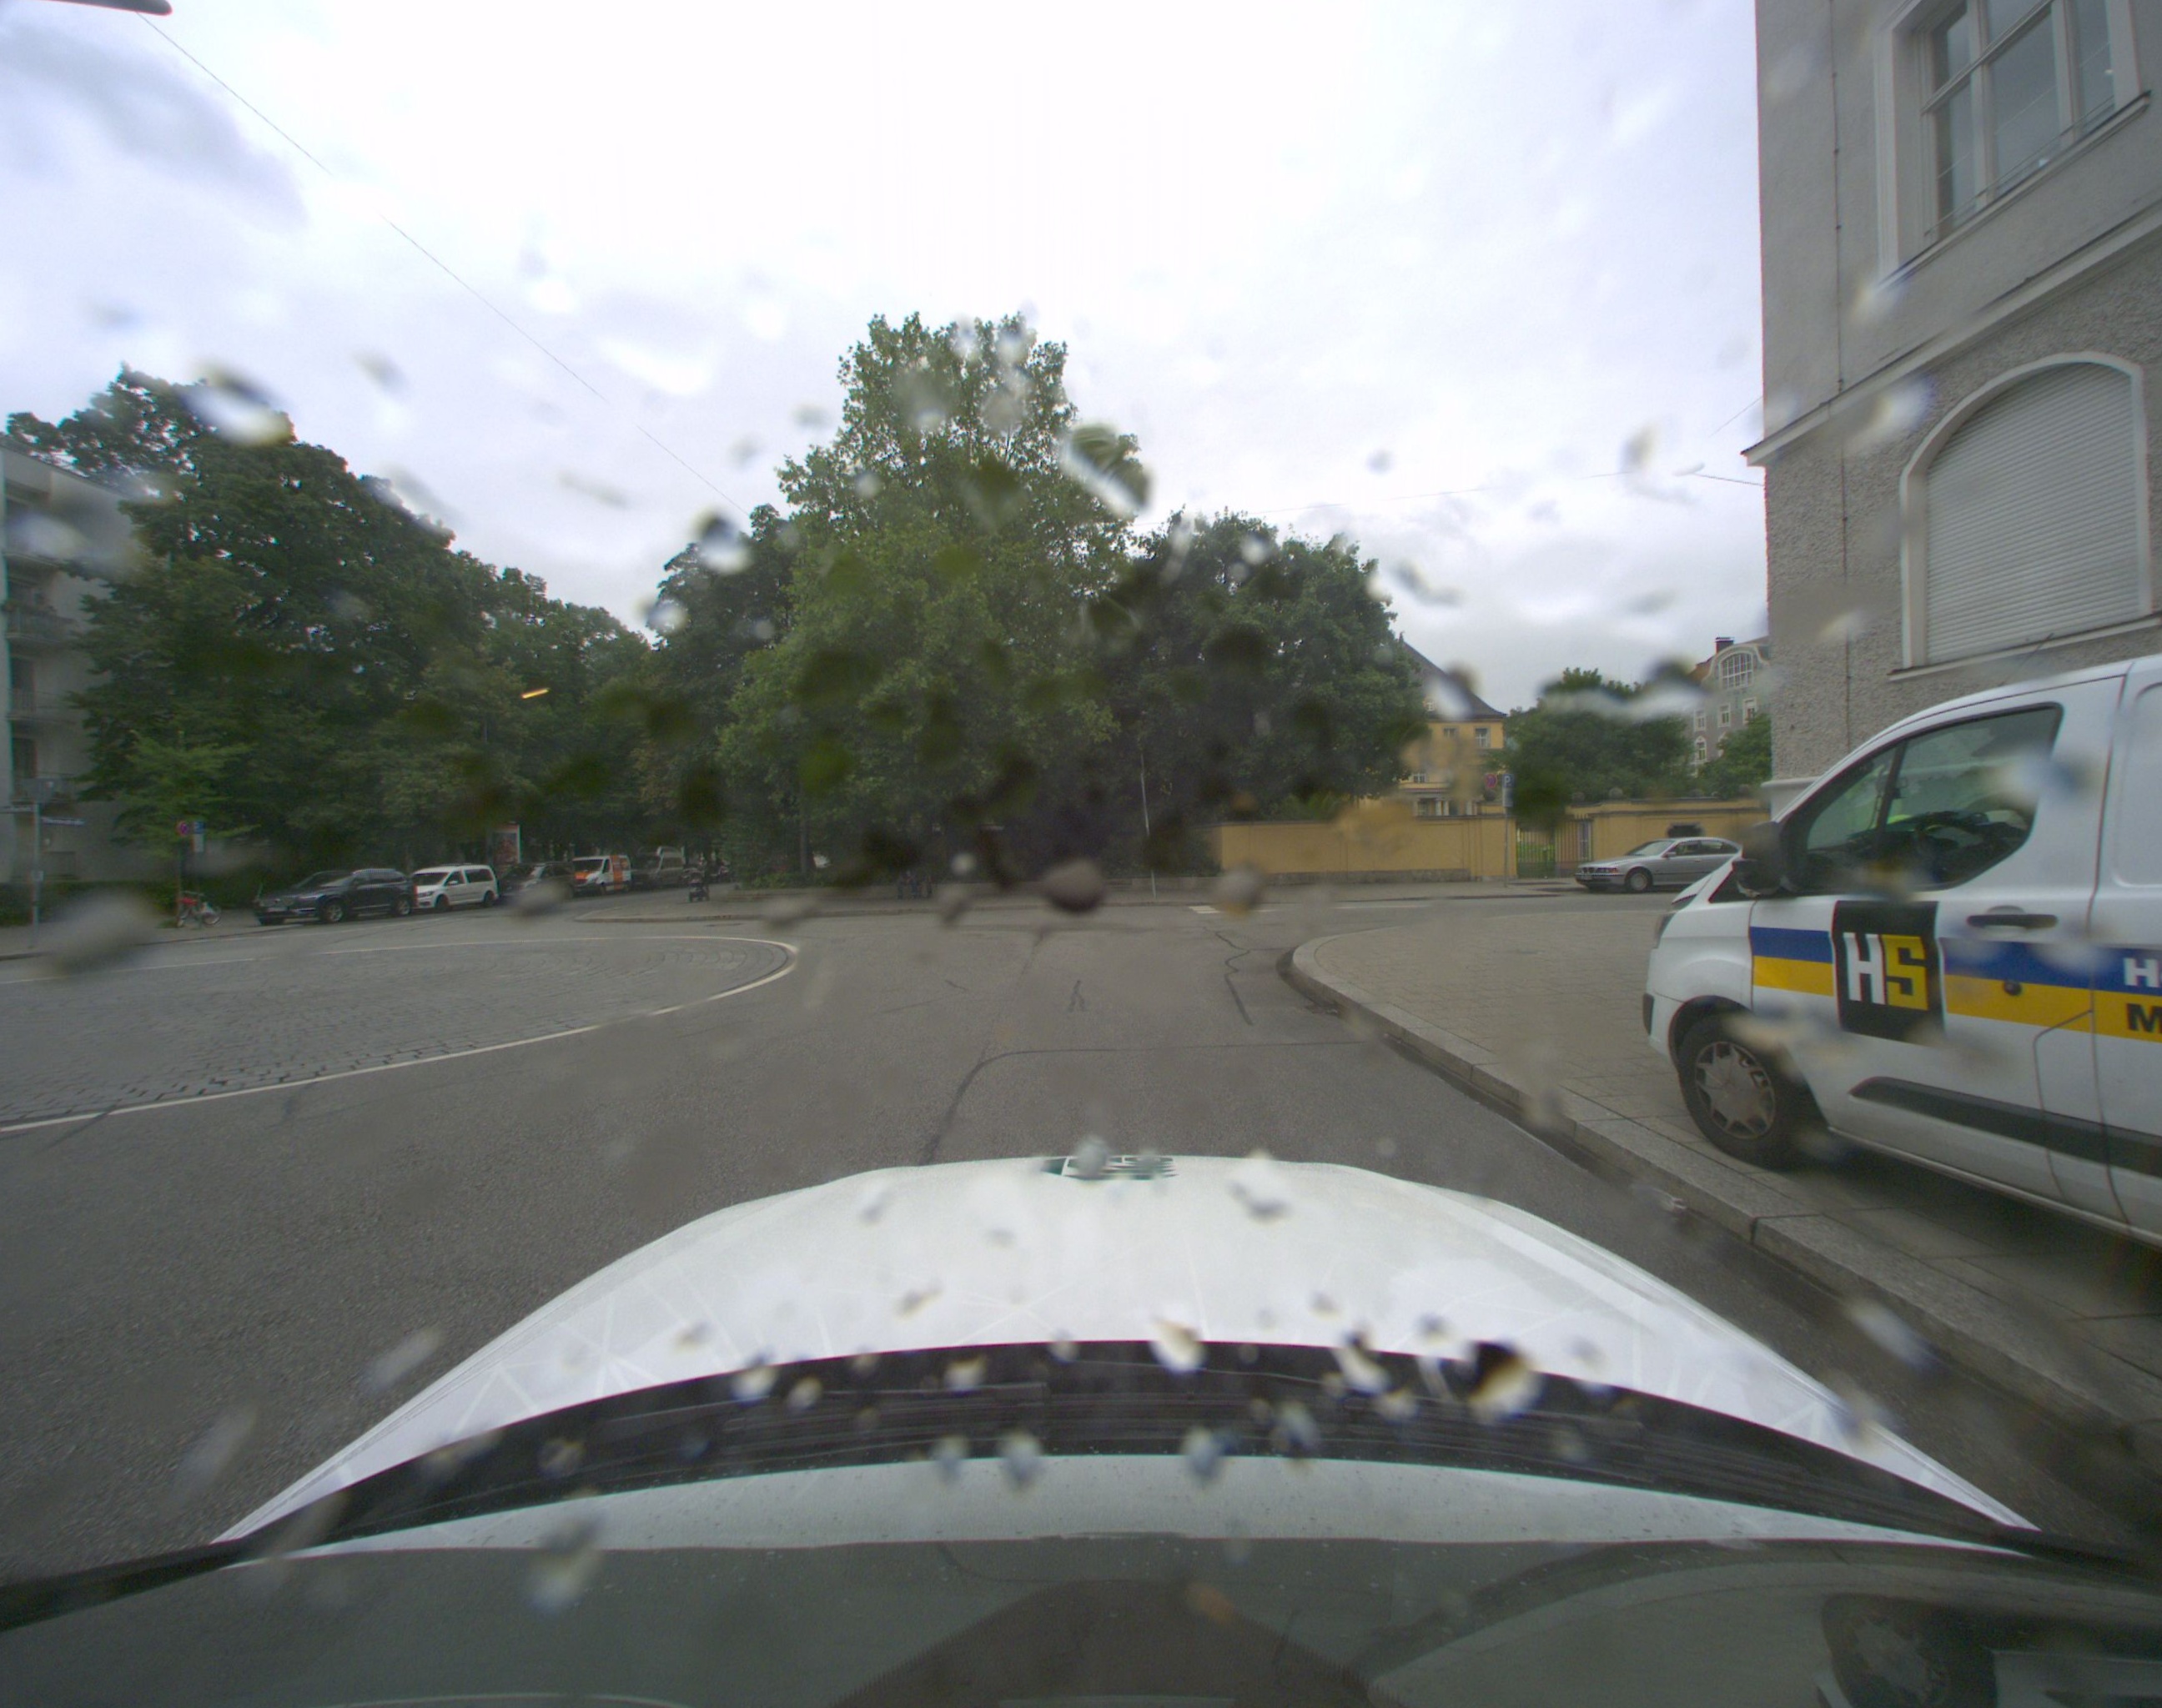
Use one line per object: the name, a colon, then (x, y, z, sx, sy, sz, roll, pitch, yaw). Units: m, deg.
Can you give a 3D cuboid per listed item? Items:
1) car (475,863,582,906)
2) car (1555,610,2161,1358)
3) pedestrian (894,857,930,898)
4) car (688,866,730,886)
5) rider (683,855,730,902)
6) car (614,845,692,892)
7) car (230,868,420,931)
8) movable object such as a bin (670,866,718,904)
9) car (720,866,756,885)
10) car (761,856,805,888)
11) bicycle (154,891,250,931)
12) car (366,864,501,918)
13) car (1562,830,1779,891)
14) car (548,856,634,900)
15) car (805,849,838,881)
car: (-26.360, 1.398, 39.119, 2.062, 1.859, 4.976, -2, 0, -6)
car: (3.762, 0.304, 2.185, 1.911, 1.962, 4.923, -3, 0, -2)
pedestrian: (-5.148, 0.715, 24.833, 0.808, 1.189, 0.920, -2, 0, 5)
car: (-30.193, 1.765, 66.280, 1.894, 1.538, 4.064, -2, 0, -7)
rider: (-14.030, 0.904, 30.542, 1.076, 1.667, 1.141, -4, 0, 6)
car: (-28.958, 0.955, 55.414, 2.332, 2.922, 6.565, -2, 0, -6)
car: (-24.893, 1.402, 27.135, 2.062, 1.767, 4.897, -2, 0, -6)
movable object such as a bin: (-14.115, 1.107, 29.711, 1.072, 1.267, 1.089, -4, 0, 6)
car: (-31.433, 1.932, 74.741, 1.894, 1.571, 4.064, -2, 0, -7)
car: (-19.659, 1.138, 53.895, 2.043, 1.922, 4.428, -2, 0, -12)
bicycle: (-27.119, 1.740, 25.173, 0.909, 1.051, 1.968, -2, 0, -5)
car: (-25.653, 1.404, 32.532, 1.924, 1.894, 4.855, -2, 0, -7)
car: (15.660, 0.161, 21.795, 4.545, 1.402, 1.824, -2, 0, -2)
car: (-27.650, 1.281, 46.209, 2.108, 2.251, 5.184, -2, 0, -6)
car: (-22.071, 0.929, 69.439, 2.042, 2.558, 5.228, -2, 0, -11)
